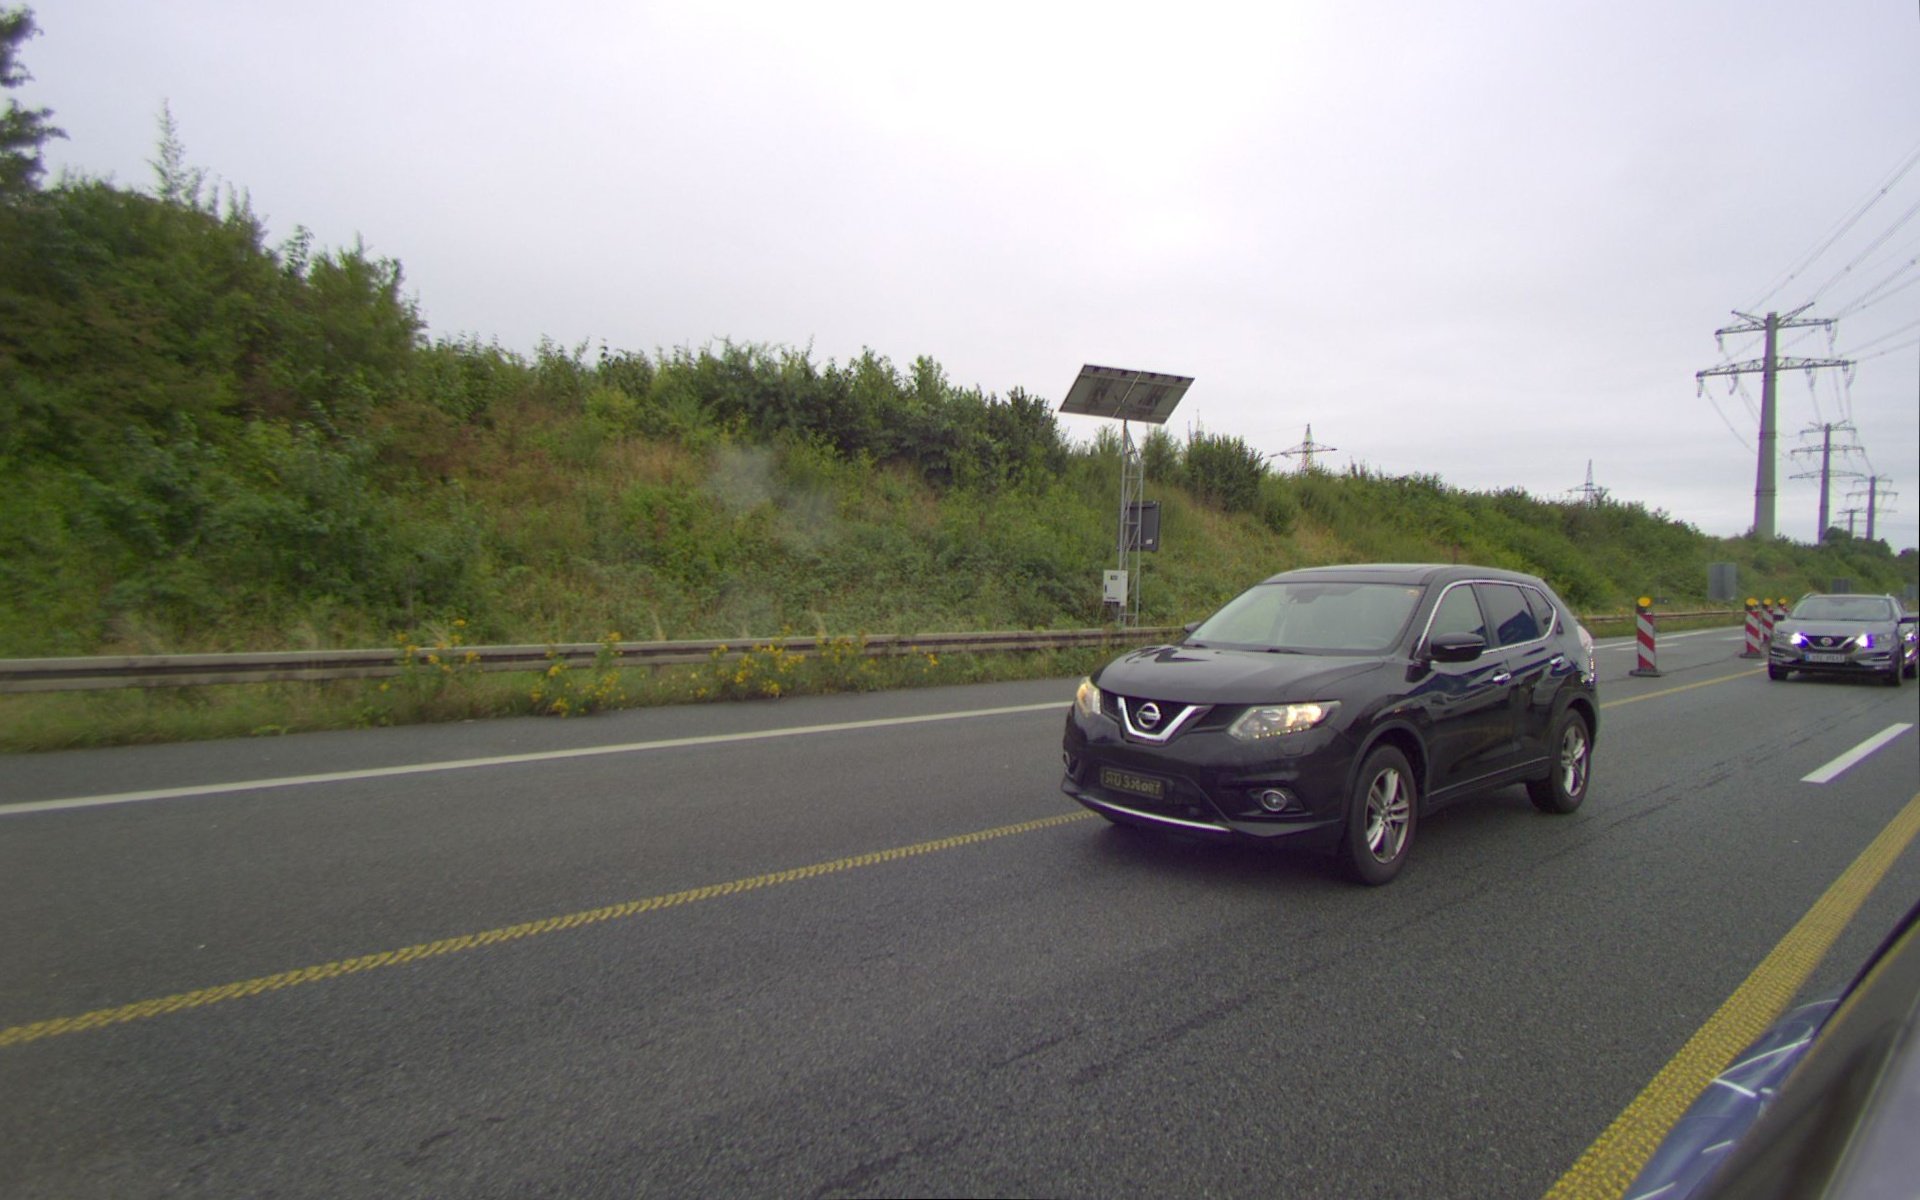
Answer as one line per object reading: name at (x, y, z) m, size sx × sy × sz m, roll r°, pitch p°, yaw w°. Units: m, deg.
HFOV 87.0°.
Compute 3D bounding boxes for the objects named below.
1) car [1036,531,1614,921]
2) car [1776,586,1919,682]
car at (2.537, 0.524, 6.415) m, size 4.207 × 1.679 × 1.687 m, roll 0°, pitch 1°, yaw -42°
car at (16.432, 0.538, 18.462) m, size 4.079 × 1.552 × 1.802 m, roll 0°, pitch 1°, yaw -42°
